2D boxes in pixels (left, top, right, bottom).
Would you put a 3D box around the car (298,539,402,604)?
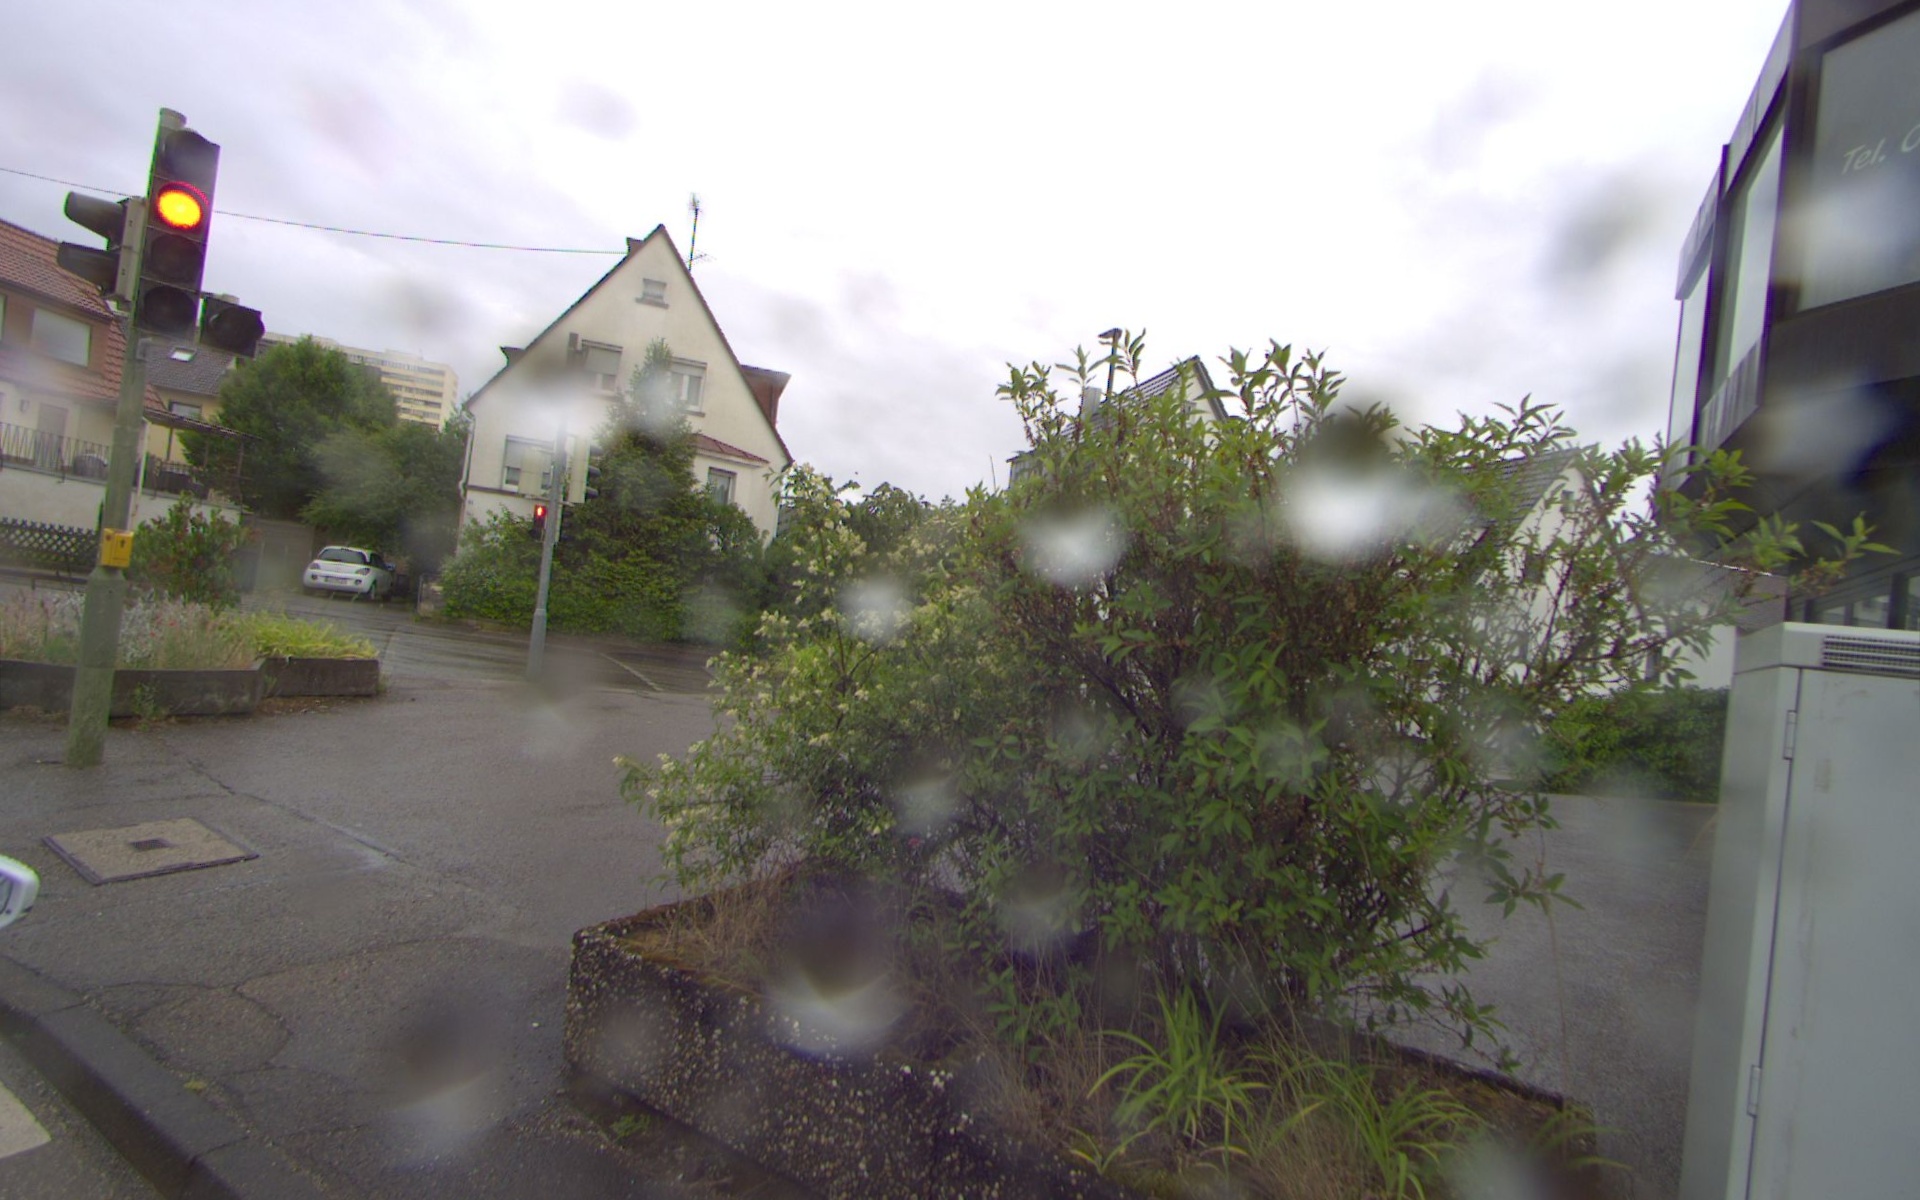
[{"bbox_3d":[-17.689,-0.811,29.375,1.722,1.532,3.982,9,-2,-21],"label":"car"}]
